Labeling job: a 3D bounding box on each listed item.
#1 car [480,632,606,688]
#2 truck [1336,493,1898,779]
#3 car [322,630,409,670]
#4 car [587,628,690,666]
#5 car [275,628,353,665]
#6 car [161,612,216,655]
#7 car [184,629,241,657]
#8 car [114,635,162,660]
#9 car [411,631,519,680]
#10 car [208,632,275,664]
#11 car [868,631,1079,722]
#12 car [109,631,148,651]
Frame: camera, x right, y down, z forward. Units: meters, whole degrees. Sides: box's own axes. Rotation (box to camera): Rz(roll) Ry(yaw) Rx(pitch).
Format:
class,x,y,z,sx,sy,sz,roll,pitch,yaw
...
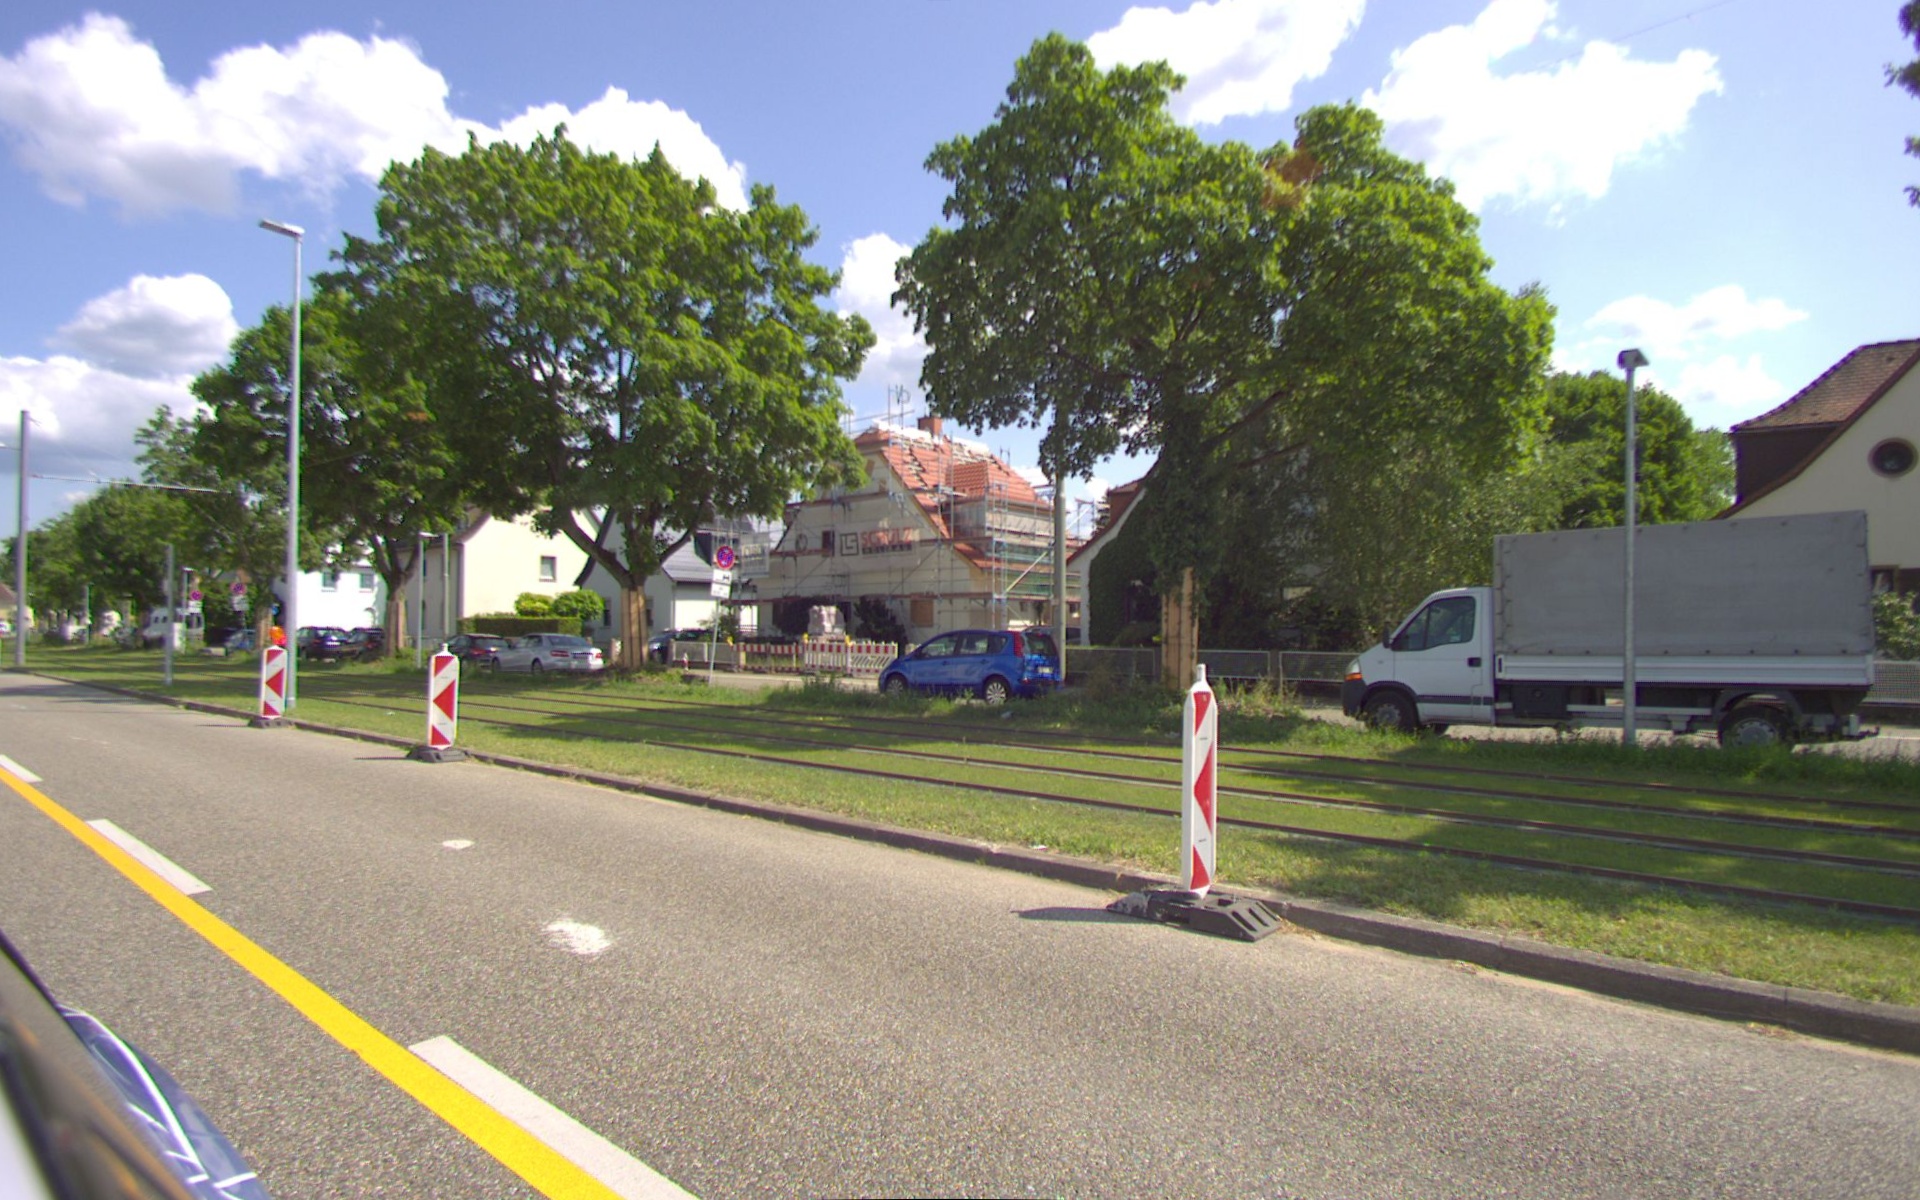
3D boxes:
class,x,y,z,sx,sy,sz,roll,pitch,yaw
car,-13.174,1.830,31.865,4.603,1.623,1.733,-2,-3,40
truck,8.274,0.464,13.361,5.871,3.010,1.982,-2,-3,41
car,-25.185,2.074,42.832,4.603,1.623,1.733,-2,-3,40
car,-14.084,2.047,44.513,1.756,1.623,3.995,-2,-3,41
car,-29.604,2.099,46.335,4.603,1.623,1.733,-2,-3,40
car,-48.874,2.107,64.084,4.603,2.636,1.733,-2,-3,40
car,-44.647,2.554,60.408,4.603,1.623,1.733,-2,-3,40
car,-57.025,3.270,70.154,4.603,1.623,1.733,-2,-3,40
car,-17.615,1.915,35.936,4.603,1.623,1.733,-2,-3,40
car,-37.646,2.470,52.984,4.603,1.623,1.733,-2,-3,40
car,0.204,1.442,20.182,4.047,1.623,1.733,-2,-3,40
car,-70.204,3.446,85.400,4.603,1.623,1.733,-2,-3,40
